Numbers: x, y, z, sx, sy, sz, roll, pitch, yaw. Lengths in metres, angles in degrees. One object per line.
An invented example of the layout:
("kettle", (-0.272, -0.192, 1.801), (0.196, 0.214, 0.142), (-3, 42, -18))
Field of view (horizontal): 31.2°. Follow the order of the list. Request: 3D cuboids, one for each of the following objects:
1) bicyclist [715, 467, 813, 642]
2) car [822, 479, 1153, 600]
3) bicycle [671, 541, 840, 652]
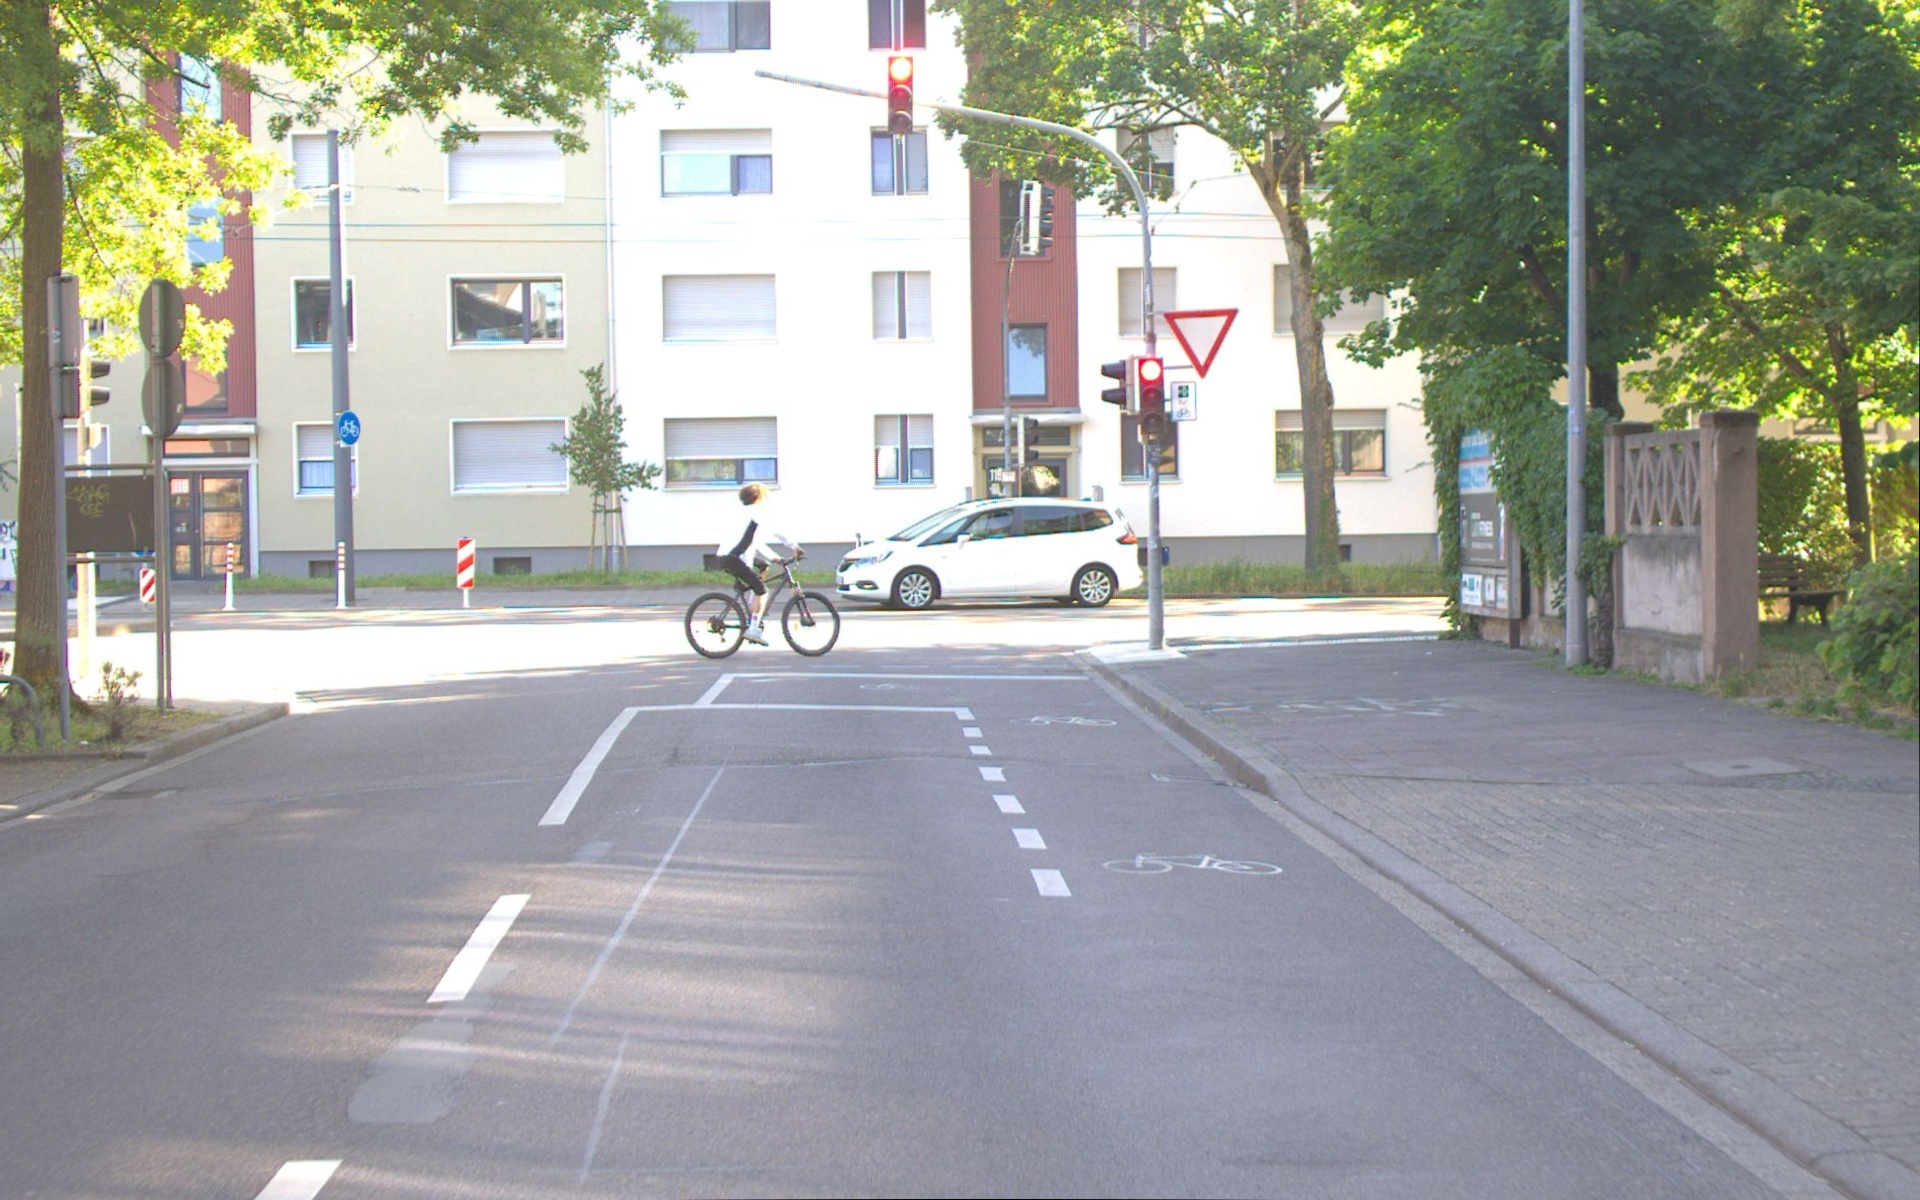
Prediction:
("bicyclist", (-1.999, -0.474, 35.041), (0.786, 1.751, 0.612), (-2, 2, -26))
("car", (0.398, -0.937, 52.054), (4.660, 1.733, 2.001), (-1, 2, -13))
("bicycle", (-2.074, -0.045, 34.993), (1.683, 1.076, 0.351), (-2, 2, -24))
